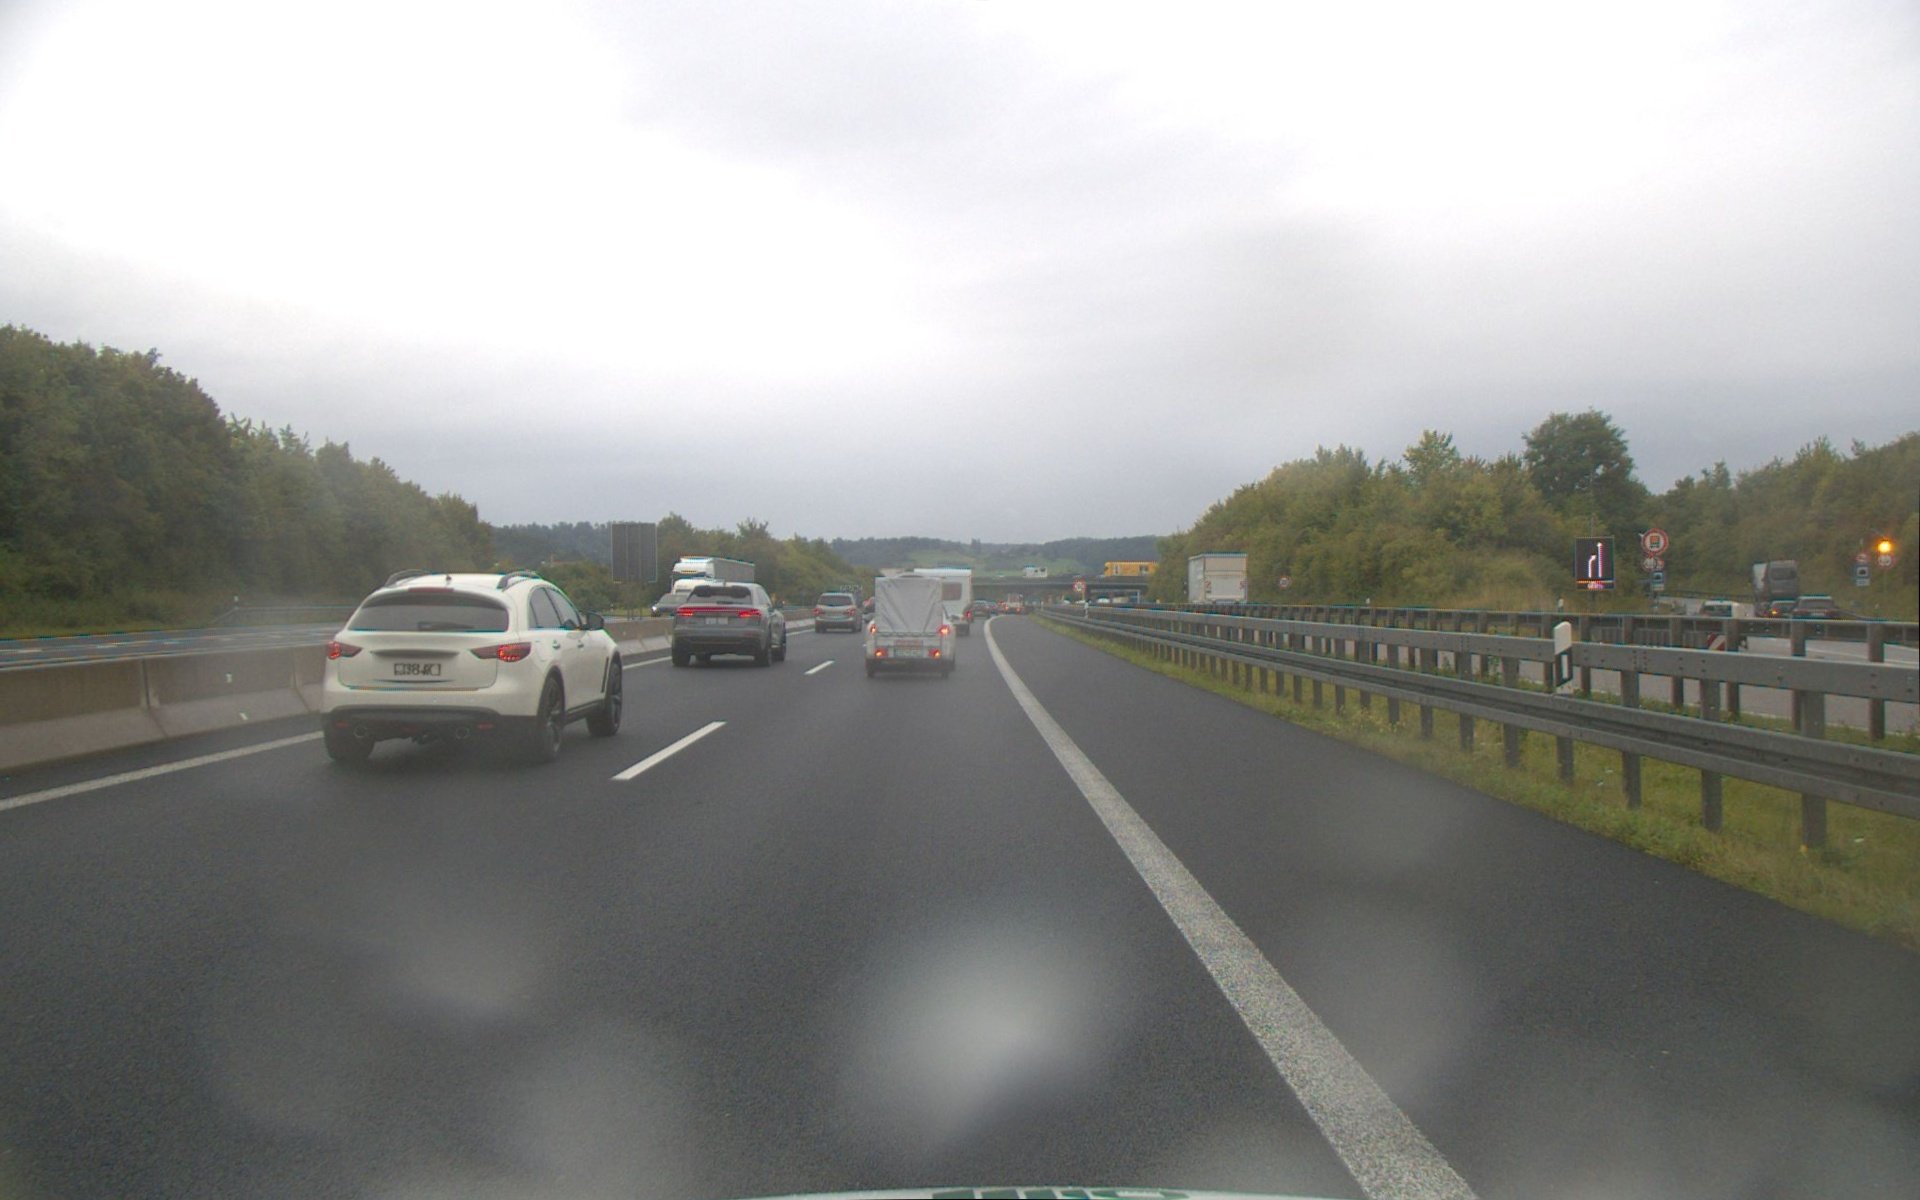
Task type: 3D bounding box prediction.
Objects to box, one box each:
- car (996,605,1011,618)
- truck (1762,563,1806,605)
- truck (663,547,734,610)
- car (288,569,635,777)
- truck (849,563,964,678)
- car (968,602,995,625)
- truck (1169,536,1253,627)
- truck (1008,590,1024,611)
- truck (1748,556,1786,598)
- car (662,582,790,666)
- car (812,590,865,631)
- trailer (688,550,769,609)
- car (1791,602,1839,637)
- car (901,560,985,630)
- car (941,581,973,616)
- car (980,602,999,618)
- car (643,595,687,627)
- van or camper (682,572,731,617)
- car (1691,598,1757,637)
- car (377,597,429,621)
[{"bbox_3d":[6.127,1.665,231.257,1.952,1.780,4.002,1,0,4],"label":"car"},{"bbox_3d":[55.795,-1.072,111.954,2.394,2.752,5.558,0,0,29],"label":"truck"},{"bbox_3d":[-17.862,-1.438,113.635,3.191,4.155,7.445,0,0,4],"label":"truck"},{"bbox_3d":[-4.437,0.589,15.515,1.936,1.668,4.500,0,0,-1],"label":"car"},{"bbox_3d":[-0.932,0.350,32.860,1.977,2.020,7.213,0,0,1],"label":"truck"},{"bbox_3d":[1.724,1.086,131.507,1.952,1.780,4.001,1,0,3],"label":"car"},{"bbox_3d":[15.057,-1.063,99.980,4.008,5.193,10.467,0,0,3],"label":"truck"},{"bbox_3d":[8.787,0.067,258.634,2.230,3.136,7.249,1,0,4],"label":"truck"},{"bbox_3d":[59.170,-1.634,121.156,2.202,2.929,8.161,0,0,28],"label":"truck"},{"bbox_3d":[-4.892,0.478,35.149,2.130,1.660,4.500,0,0,-1],"label":"car"},{"bbox_3d":[-5.018,0.409,68.595,1.861,1.641,4.017,0,0,1],"label":"car"},{"bbox_3d":[-17.125,-1.479,123.535,3.191,4.155,13.852,0,0,4],"label":"trailer"},{"bbox_3d":[37.941,0.840,73.480,1.823,1.473,4.153,0,0,27],"label":"car"},{"bbox_3d":[-0.603,-0.193,66.335,2.953,2.662,6.077,0,0,4],"label":"car"},{"bbox_3d":[-0.223,-0.084,104.429,1.953,2.071,4.151,1,0,-1],"label":"car"},{"bbox_3d":[3.380,1.161,188.173,1.952,1.780,4.001,1,0,3],"label":"car"},{"bbox_3d":[-15.692,0.568,88.064,1.496,1.648,4.389,0,0,1],"label":"car"},{"bbox_3d":[-14.548,-0.311,95.096,1.758,2.513,5.549,0,0,2],"label":"van or camper"},{"bbox_3d":[29.676,0.657,64.321,1.821,1.473,4.160,0,0,18],"label":"car"},{"bbox_3d":[-31.657,0.487,94.027,1.654,1.316,3.923,0,0,0],"label":"car"}]
